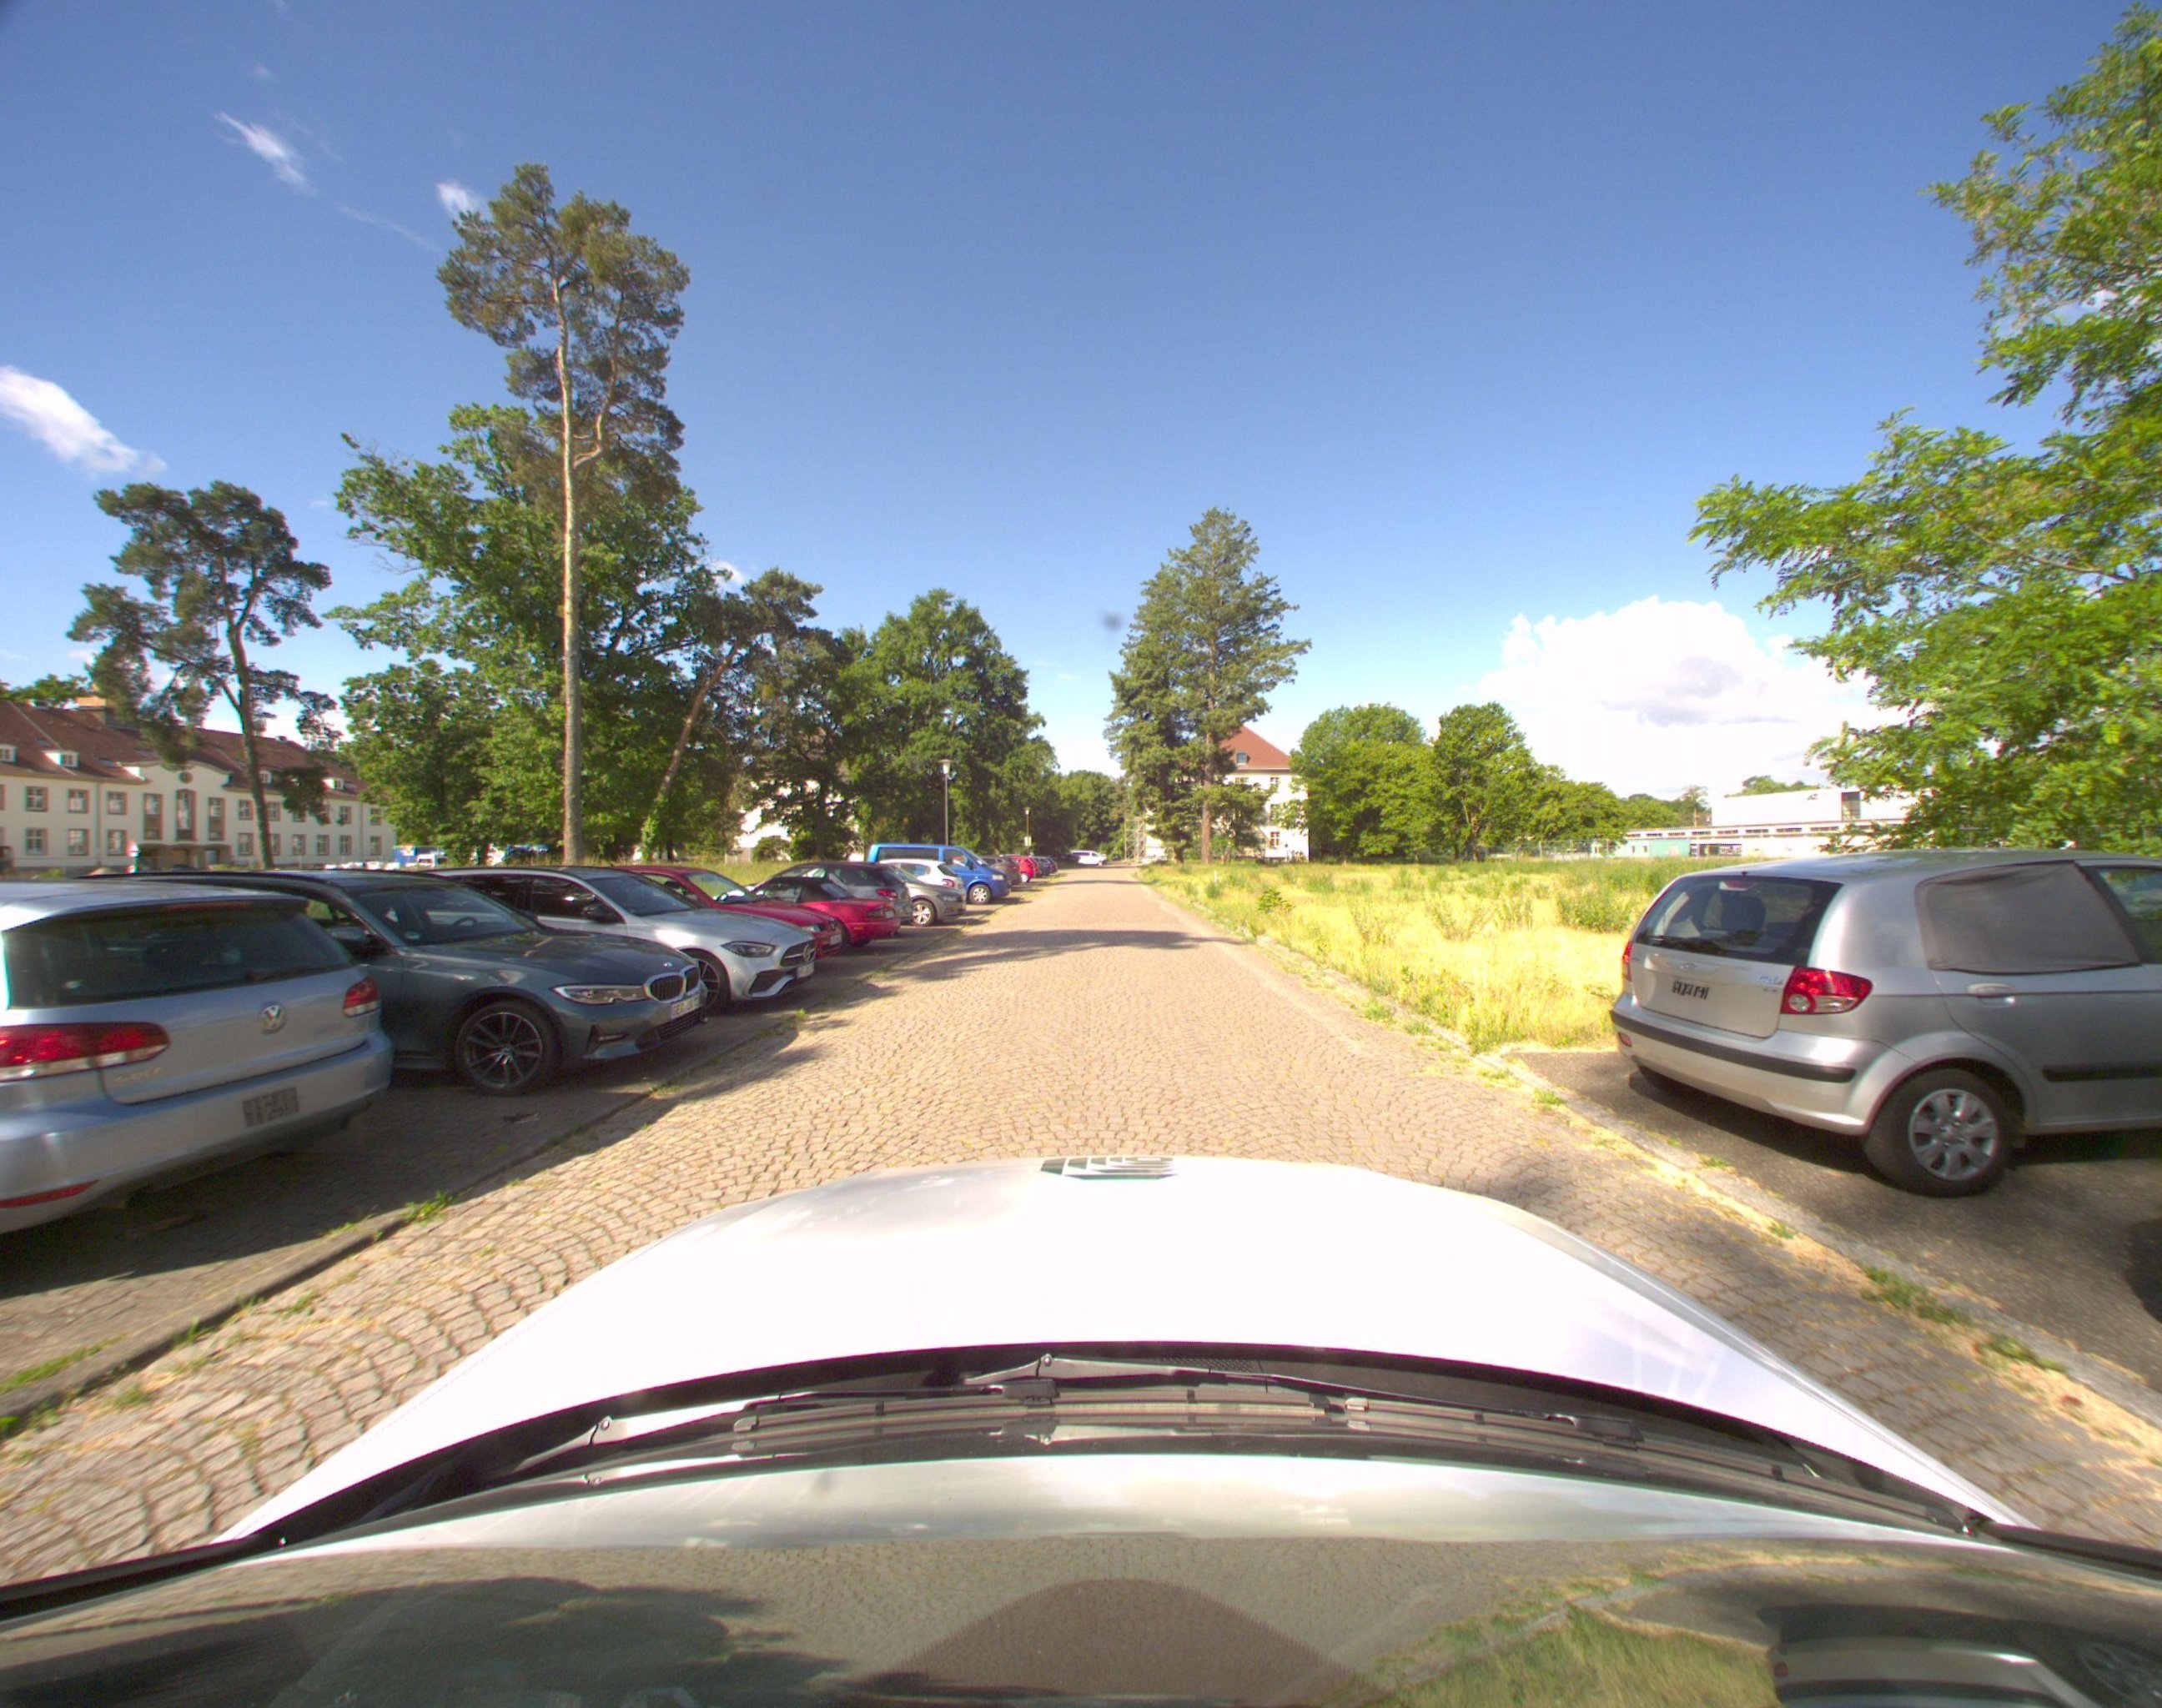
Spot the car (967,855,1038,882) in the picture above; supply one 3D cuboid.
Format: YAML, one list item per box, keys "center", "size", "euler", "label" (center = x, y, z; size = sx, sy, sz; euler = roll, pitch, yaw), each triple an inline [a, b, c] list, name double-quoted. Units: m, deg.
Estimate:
- center: [-4.456, 0.806, 46.625]
  size: [3.911, 1.461, 1.841]
  euler: [1, 0, -1]
  label: "car"

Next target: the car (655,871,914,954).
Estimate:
- center: [-4.828, 0.929, 13.625]
  size: [3.616, 1.234, 1.760]
  euler: [1, -1, 2]
  label: "car"

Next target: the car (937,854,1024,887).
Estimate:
- center: [-4.754, 0.779, 39.031]
  size: [3.911, 1.449, 1.866]
  euler: [1, 0, -1]
  label: "car"

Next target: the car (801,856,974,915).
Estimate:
- center: [-5.147, 0.817, 22.067]
  size: [4.181, 1.475, 1.824]
  euler: [1, 0, 1]
  label: "car"

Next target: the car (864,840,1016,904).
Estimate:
- center: [-4.642, 0.581, 27.350]
  size: [4.701, 1.968, 2.006]
  euler: [1, 0, 1]
  label: "car"

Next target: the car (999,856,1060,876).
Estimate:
- center: [-3.840, 0.906, 61.587]
  size: [4.340, 1.445, 1.923]
  euler: [0, 0, 3]
  label: "car"

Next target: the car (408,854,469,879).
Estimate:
- center: [-66.636, 1.249, 84.592]
  size: [1.976, 2.436, 5.279]
  euler: [-1, 0, 2]
  label: "car"

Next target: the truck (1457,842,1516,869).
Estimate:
- center: [38.255, 0.158, 77.129]
  size: [2.225, 2.424, 6.886]
  euler: [1, 0, 0]
  label: "truck"

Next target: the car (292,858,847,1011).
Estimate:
- center: [-5.311, 0.803, 8.974]
  size: [4.847, 1.421, 1.939]
  euler: [1, -1, 1]
  label: "car"

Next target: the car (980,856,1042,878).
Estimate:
- center: [-4.628, 0.853, 54.514]
  size: [3.908, 1.433, 1.843]
  euler: [0, 0, 2]
  label: "car"

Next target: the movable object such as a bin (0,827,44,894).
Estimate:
- center: [-61.433, 0.380, 43.959]
  size: [3.935, 3.731, 6.740]
  euler: [-1, 0, -23]
  label: "movable object such as a bin"

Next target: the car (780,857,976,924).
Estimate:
- center: [-4.672, 0.819, 19.180]
  size: [4.061, 1.425, 1.924]
  euler: [1, 0, 2]
  label: "car"

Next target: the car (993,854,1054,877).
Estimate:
- center: [-3.994, 0.785, 56.905]
  size: [4.120, 1.579, 1.885]
  euler: [0, 0, 1]
  label: "car"

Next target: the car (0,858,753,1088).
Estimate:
- center: [-5.232, 0.794, 6.253]
  size: [4.570, 1.452, 1.982]
  euler: [1, -1, -3]
  label: "car"

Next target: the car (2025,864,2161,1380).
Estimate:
- center: [5.033, 0.669, 1.709]
  size: [3.992, 1.441, 1.843]
  euler: [-3, 0, -1]
  label: "car"

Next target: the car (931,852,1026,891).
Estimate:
- center: [-4.522, 0.752, 36.297]
  size: [3.941, 1.567, 1.973]
  euler: [1, 1, -1]
  label: "car"

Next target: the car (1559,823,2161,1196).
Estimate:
- center: [5.011, 0.643, 4.455]
  size: [3.729, 1.476, 1.751]
  euler: [-3, 0, -1]
  label: "car"

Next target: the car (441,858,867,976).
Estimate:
- center: [-5.693, 0.807, 11.321]
  size: [4.847, 1.421, 1.939]
  euler: [1, 0, 1]
  label: "car"

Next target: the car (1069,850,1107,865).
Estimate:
- center: [0.948, 0.474, 110.436]
  size: [5.217, 2.016, 1.950]
  euler: [0, 0, 0]
  label: "car"

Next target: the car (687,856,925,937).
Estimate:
- center: [-5.377, 0.817, 16.301]
  size: [4.061, 1.452, 1.822]
  euler: [1, -1, 2]
  label: "car"

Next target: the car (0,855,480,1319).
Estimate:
- center: [-5.449, 0.765, 3.634]
  size: [4.014, 1.483, 1.948]
  euler: [1, 0, -1]
  label: "car"

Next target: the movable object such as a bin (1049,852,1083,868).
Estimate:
- center: [-1.786, 0.707, 97.361]
  size: [3.536, 1.744, 2.035]
  euler: [-1, 0, 19]
  label: "movable object such as a bin"

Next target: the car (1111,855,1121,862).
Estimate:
- center: [7.628, 0.974, 176.693]
  size: [1.964, 1.668, 4.086]
  euler: [-1, 0, 1]
  label: "car"

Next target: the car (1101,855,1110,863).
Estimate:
- center: [5.226, 1.053, 176.415]
  size: [1.806, 1.579, 4.135]
  euler: [-1, 0, 1]
  label: "car"
